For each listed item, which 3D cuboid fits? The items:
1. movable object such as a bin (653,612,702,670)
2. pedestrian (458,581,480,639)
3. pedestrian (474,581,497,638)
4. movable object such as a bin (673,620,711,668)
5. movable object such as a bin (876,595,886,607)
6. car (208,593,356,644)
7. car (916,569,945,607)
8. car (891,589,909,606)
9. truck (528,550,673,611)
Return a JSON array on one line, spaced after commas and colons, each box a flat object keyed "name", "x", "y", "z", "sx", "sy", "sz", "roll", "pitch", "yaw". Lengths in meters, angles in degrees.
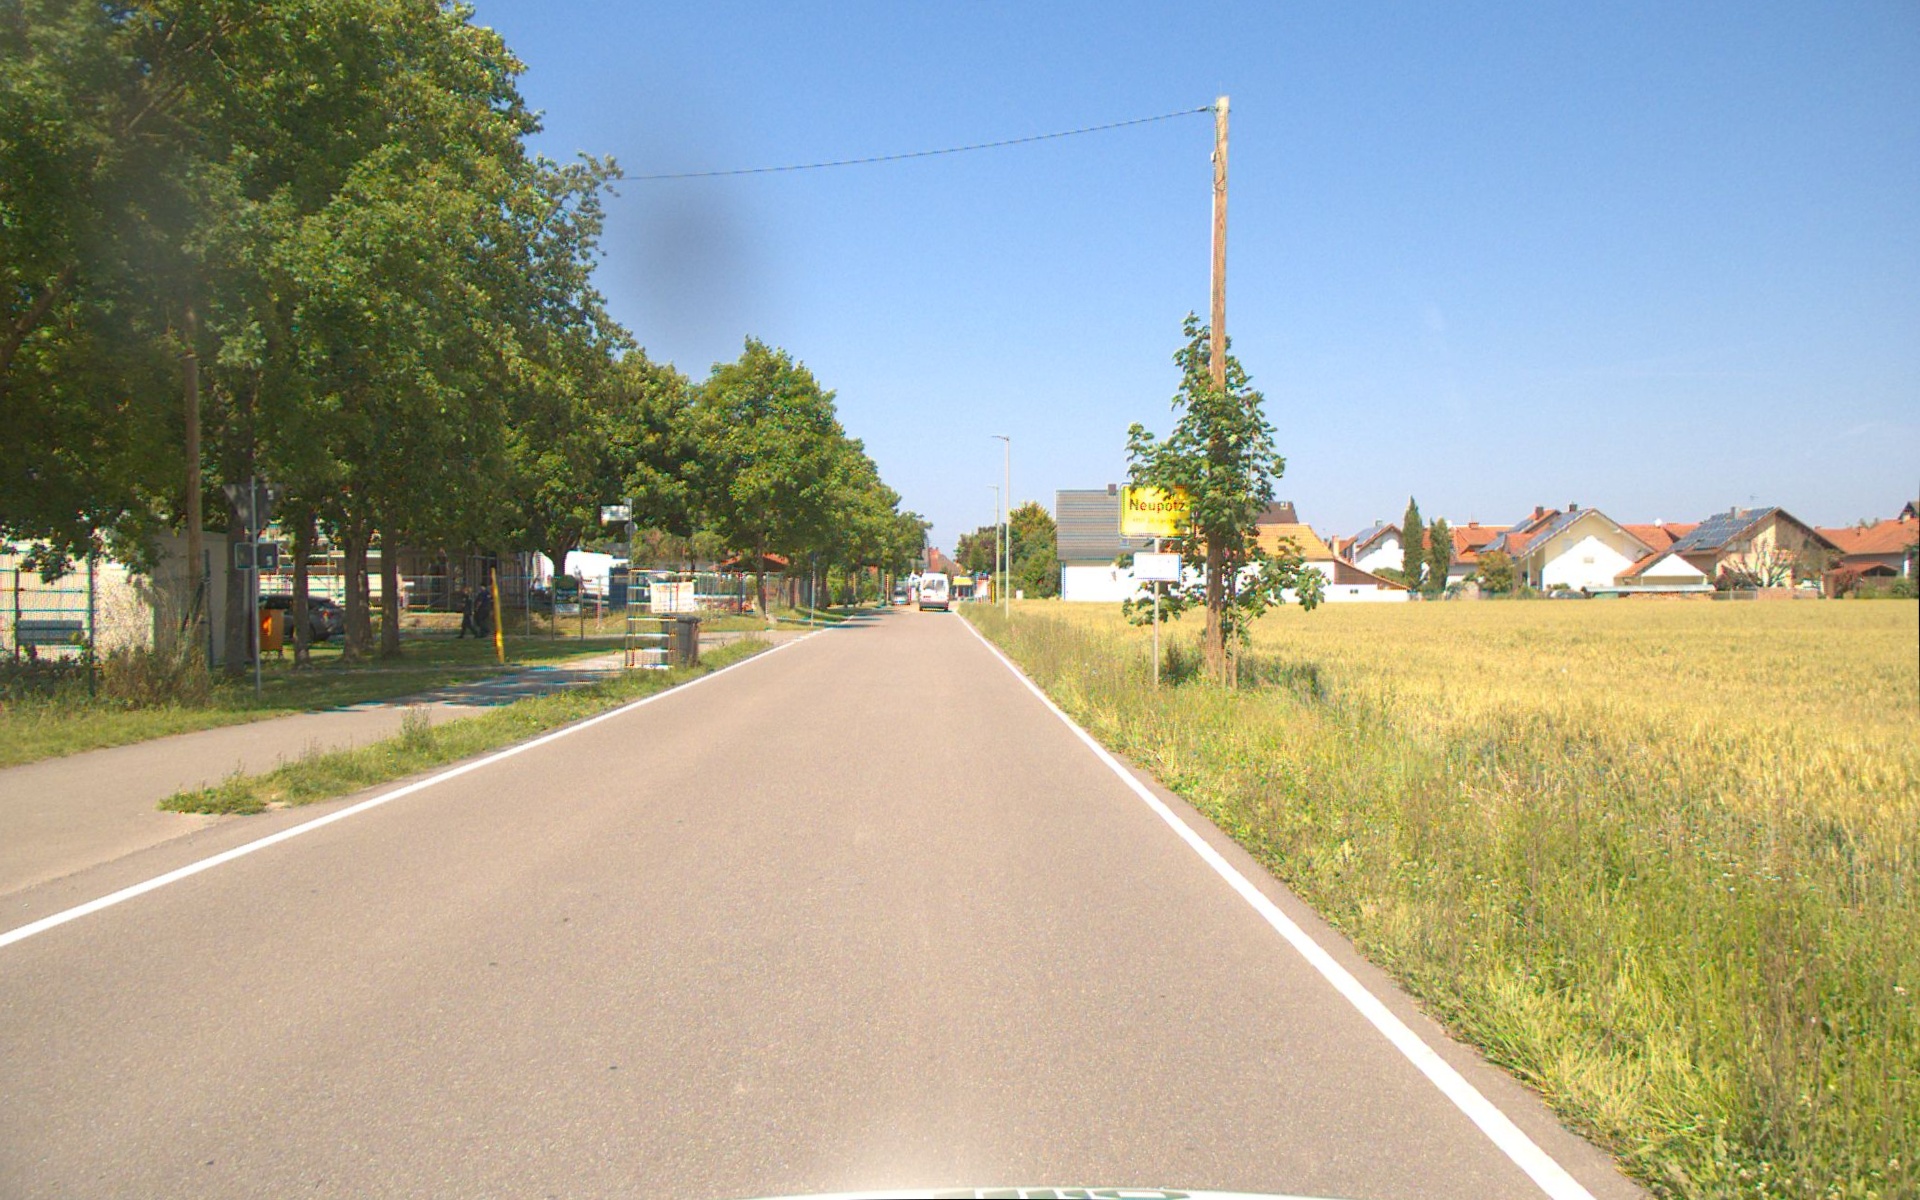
[{"name": "movable object such as a bin", "x": -5.185, "y": 0.750, "z": 30.378, "sx": 0.684, "sy": 1.042, "sz": 0.748, "roll": -1, "pitch": 0, "yaw": 6}, {"name": "pedestrian", "x": -15.271, "y": 0.301, "z": 51.440, "sx": 0.592, "sy": 1.781, "sz": 0.585, "roll": -1, "pitch": 0, "yaw": -11}, {"name": "pedestrian", "x": -14.982, "y": 0.282, "z": 52.224, "sx": 0.592, "sy": 1.781, "sz": 0.585, "roll": -1, "pitch": 0, "yaw": -11}, {"name": "movable object such as a bin", "x": -5.036, "y": 0.825, "z": 31.137, "sx": 0.550, "sy": 0.892, "sz": 0.614, "roll": -1, "pitch": 0, "yaw": 6}, {"name": "movable object such as a bin", "x": -7.222, "y": 0.061, "z": 151.025, "sx": 0.699, "sy": 1.097, "sz": 0.639, "roll": -1, "pitch": 0, "yaw": 26}, {"name": "car", "x": -20.185, "y": 0.536, "z": 49.364, "sx": 3.729, "sy": 1.423, "sz": 1.756, "roll": -1, "pitch": 0, "yaw": -9}, {"name": "car", "x": -1.951, "y": -0.795, "z": 111.418, "sx": 1.701, "sy": 2.474, "sz": 4.375, "roll": -1, "pitch": 0, "yaw": 2}, {"name": "car", "x": -5.684, "y": -0.244, "z": 156.592, "sx": 1.614, "sy": 1.448, "sz": 4.079, "roll": -3, "pitch": 0, "yaw": -1}, {"name": "truck", "x": -15.467, "y": -0.789, "z": 71.355, "sx": 5.871, "sy": 2.527, "sz": 1.973, "roll": 0, "pitch": 0, "yaw": -38}]
